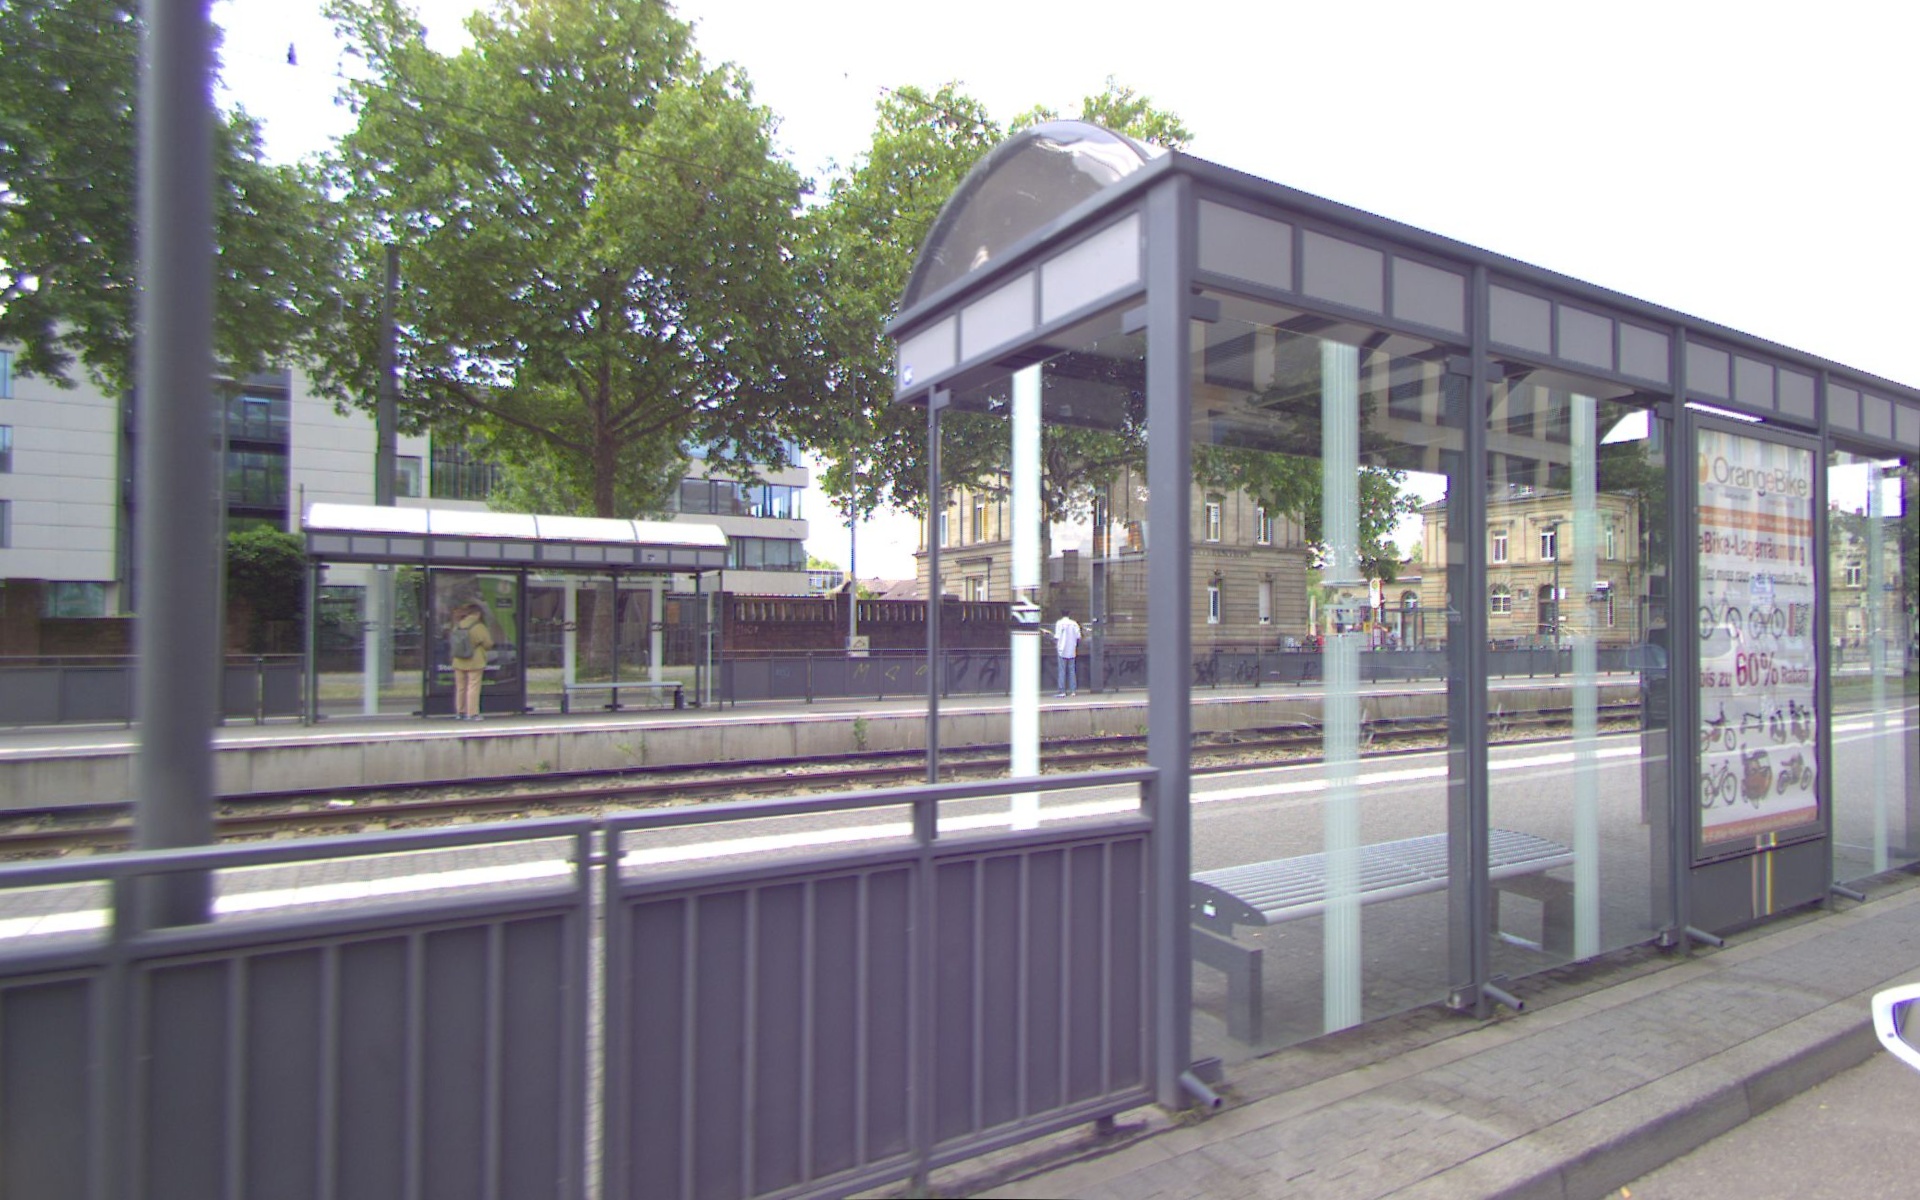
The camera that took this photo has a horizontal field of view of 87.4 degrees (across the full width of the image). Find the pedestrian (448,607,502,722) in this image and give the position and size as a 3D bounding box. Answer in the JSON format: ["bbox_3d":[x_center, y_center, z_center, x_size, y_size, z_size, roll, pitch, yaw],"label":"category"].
[{"bbox_3d":[-6.858,0.895,14.196,0.635,1.579,0.498,1,-1,-29],"label":"pedestrian"}]

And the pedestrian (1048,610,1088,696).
[{"bbox_3d":[2.187,1.069,20.394,0.635,1.705,0.498,1,-1,-29],"label":"pedestrian"}]
